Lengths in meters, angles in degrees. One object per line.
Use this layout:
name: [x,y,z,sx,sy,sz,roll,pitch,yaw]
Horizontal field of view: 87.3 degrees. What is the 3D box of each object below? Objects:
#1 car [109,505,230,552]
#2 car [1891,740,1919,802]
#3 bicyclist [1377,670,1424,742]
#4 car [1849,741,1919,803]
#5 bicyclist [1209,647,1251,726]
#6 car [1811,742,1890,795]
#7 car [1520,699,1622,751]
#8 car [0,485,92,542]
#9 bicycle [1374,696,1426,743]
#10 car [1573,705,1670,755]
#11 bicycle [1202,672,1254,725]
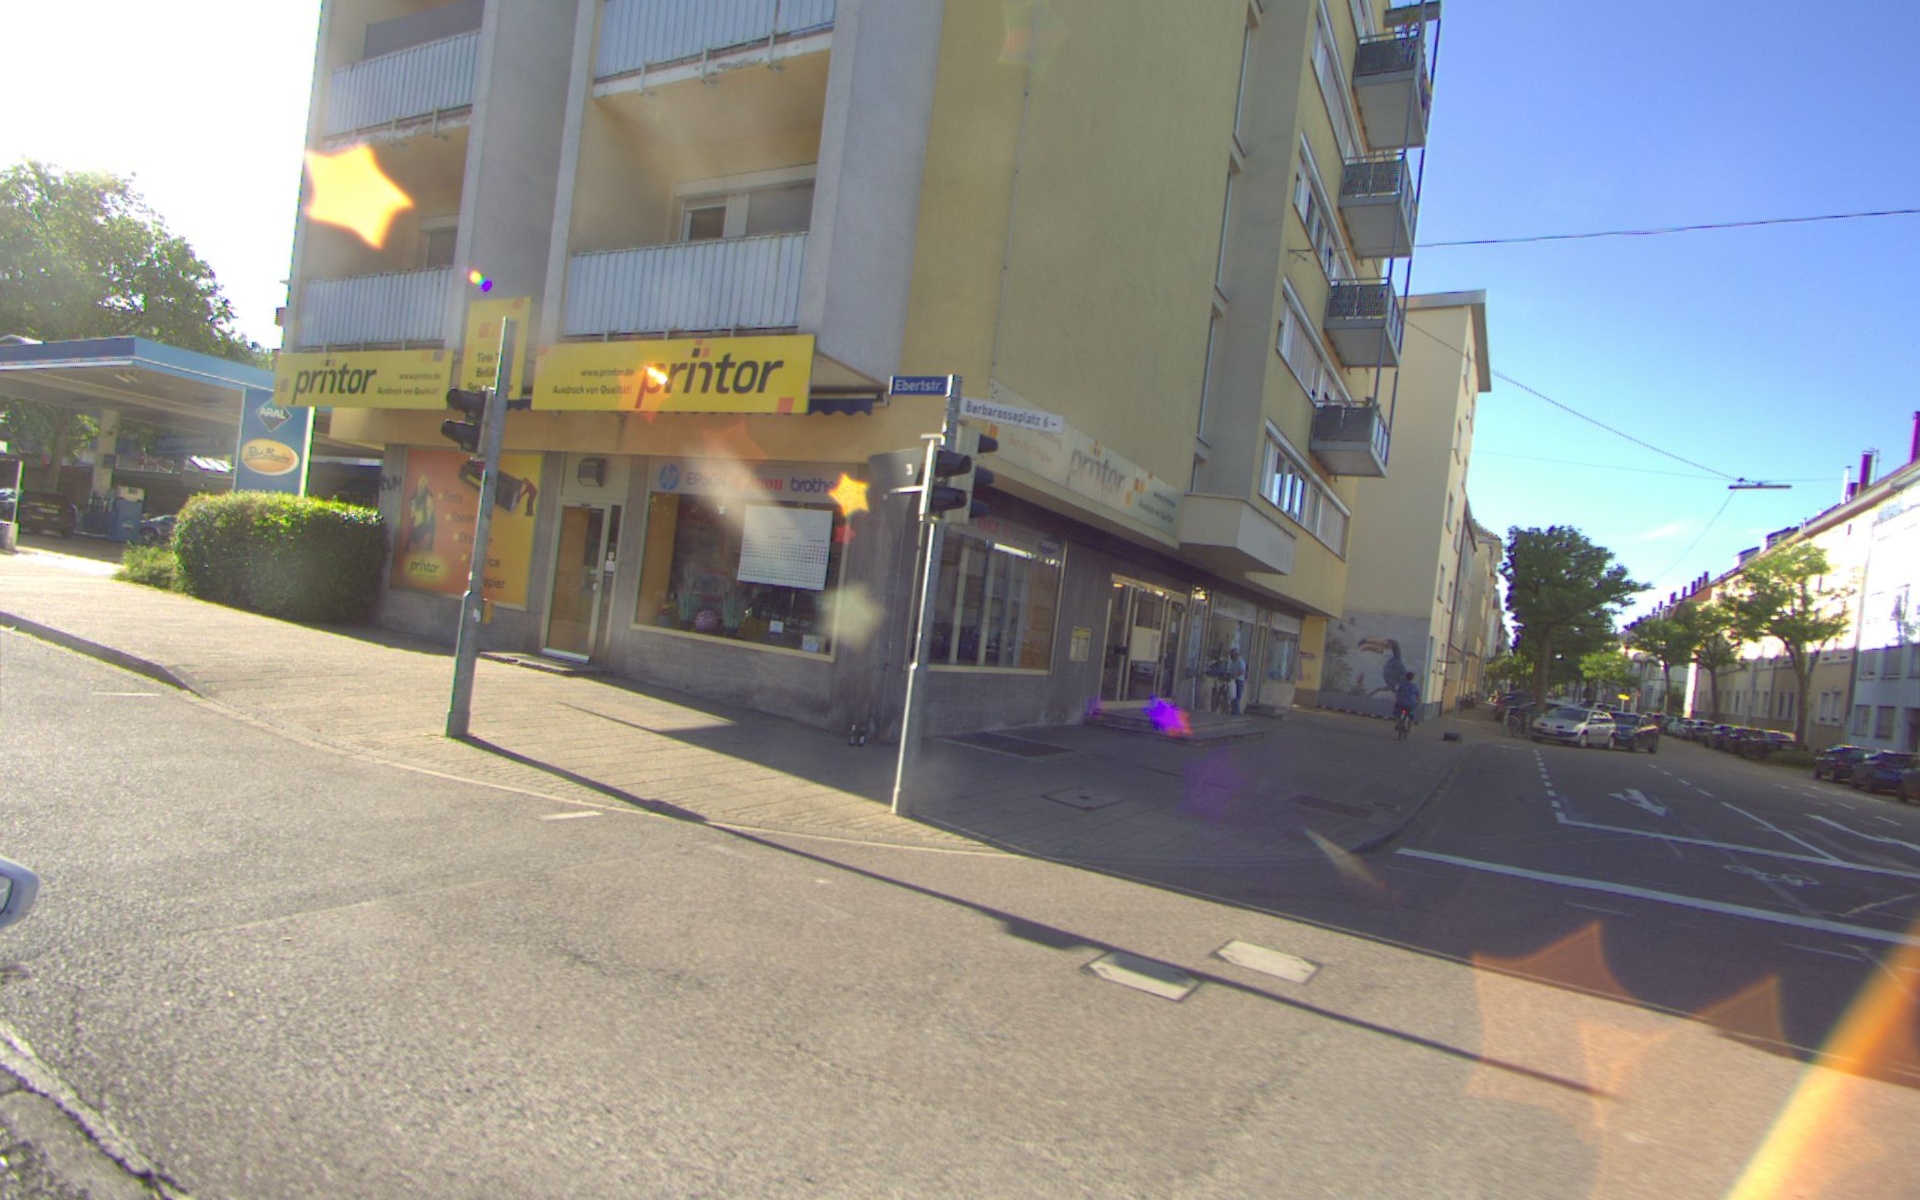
car: [-38.832,-3.479,49.522,1.950,1.549,4.199,7,-2,30]
car: [28.721,5.084,29.082,1.969,1.670,3.990,7,-2,35]
bicyclist: [11.543,2.774,26.339,0.804,1.736,0.754,8,0,33]
car: [30.961,5.683,33.349,1.665,1.670,3.990,7,-2,36]
bicyclist: [6.153,1.963,22.912,0.628,1.700,0.684,7,0,27]
car: [33.436,6.281,37.856,1.665,1.510,3.990,7,-2,36]
car: [23.175,4.755,38.118,4.137,1.525,1.899,8,-2,-38]
car: [-30.883,-2.943,33.286,3.934,1.480,1.725,7,-1,26]
bicycle: [11.641,3.139,26.557,0.833,1.062,2.268,7,-1,32]
car: [26.871,5.296,40.852,4.190,1.537,1.979,8,-2,-38]
bicycle: [6.127,2.254,22.924,0.631,1.071,2.087,7,-2,27]
